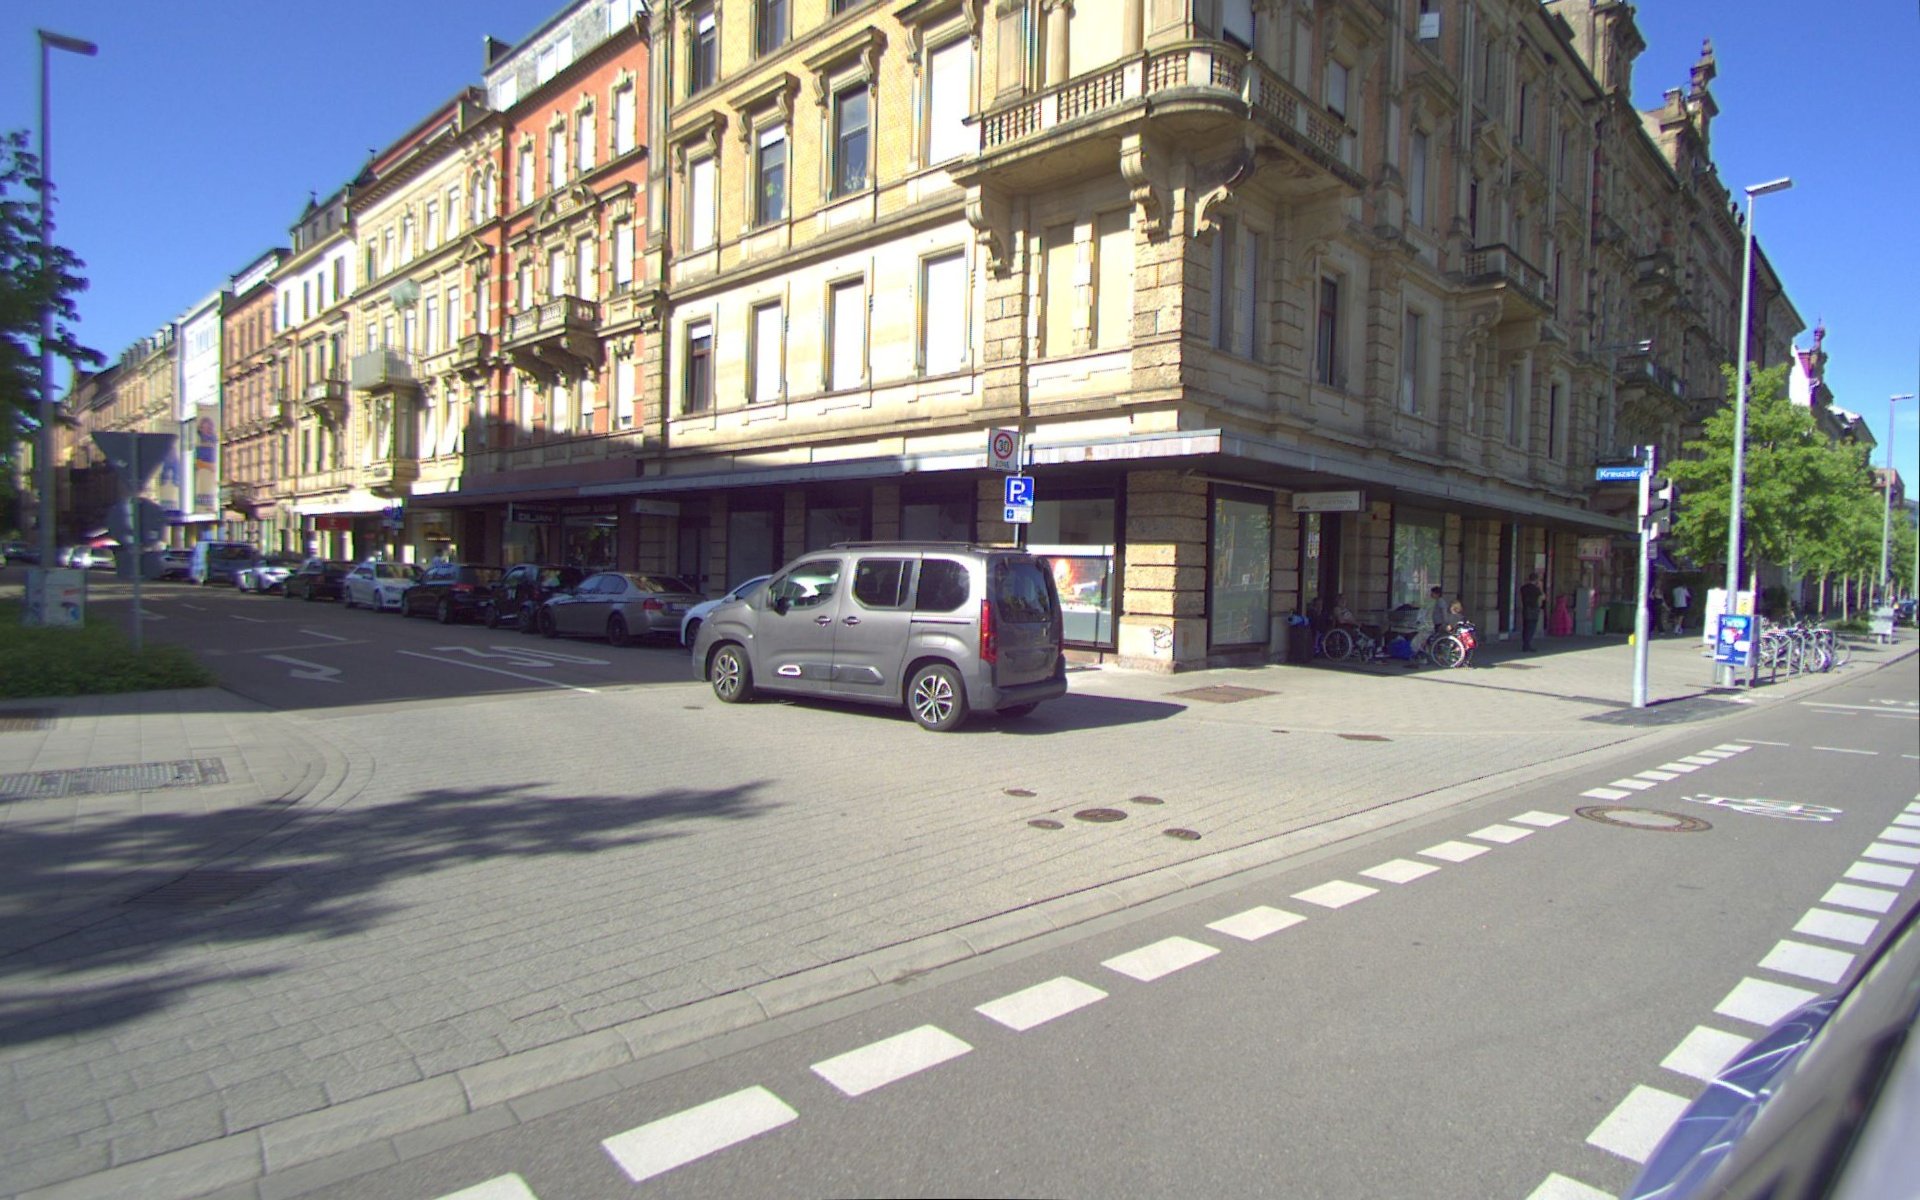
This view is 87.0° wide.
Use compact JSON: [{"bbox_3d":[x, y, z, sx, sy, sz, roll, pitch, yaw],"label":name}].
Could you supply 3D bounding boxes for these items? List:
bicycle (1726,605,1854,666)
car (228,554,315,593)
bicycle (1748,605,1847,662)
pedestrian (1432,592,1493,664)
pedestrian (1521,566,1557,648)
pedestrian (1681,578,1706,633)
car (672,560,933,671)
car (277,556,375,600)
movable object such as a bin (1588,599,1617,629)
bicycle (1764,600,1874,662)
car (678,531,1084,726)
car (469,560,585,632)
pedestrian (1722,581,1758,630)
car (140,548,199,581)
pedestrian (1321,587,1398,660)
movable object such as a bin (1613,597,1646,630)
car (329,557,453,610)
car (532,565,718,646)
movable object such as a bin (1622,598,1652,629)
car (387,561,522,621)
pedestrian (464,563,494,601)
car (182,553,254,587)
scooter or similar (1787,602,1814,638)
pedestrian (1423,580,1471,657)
[{"bbox_3d":[18.133,0.753,22.156,0.593,1.133,2.053,0,4,-42],"label":"bicycle"},{"bbox_3d":[-25.480,-0.996,37.425,3.806,1.371,1.688,2,2,40],"label":"car"},{"bbox_3d":[19.089,0.737,23.103,1.661,1.123,0.594,5,4,40],"label":"bicycle"},{"bbox_3d":[9.097,0.497,18.325,0.635,1.232,0.719,0,3,-37],"label":"pedestrian"},{"bbox_3d":[13.167,0.154,23.010,0.491,1.824,0.512,1,1,-35],"label":"pedestrian"},{"bbox_3d":[25.529,0.185,35.225,0.491,1.873,0.512,1,1,-35],"label":"pedestrian"},{"bbox_3d":[-2.690,0.162,16.697,4.388,1.563,1.827,2,2,40],"label":"car"},{"bbox_3d":[-21.236,-0.758,33.860,3.806,1.371,1.688,2,2,40],"label":"car"},{"bbox_3d":[20.066,0.437,31.589,0.467,0.876,0.606,0,3,-38],"label":"movable object such as a bin"},{"bbox_3d":[20.402,0.716,24.075,0.680,1.266,1.867,0,5,-43],"label":"bicycle"},{"bbox_3d":[-0.921,0.207,11.069,4.135,1.775,1.797,2,0,31],"label":"car"},{"bbox_3d":[-9.890,-0.130,23.057,2.778,1.513,1.287,2,2,40],"label":"car"},{"bbox_3d":[26.308,0.172,34.145,0.795,1.603,0.752,0,3,-43],"label":"pedestrian"},{"bbox_3d":[-39.105,-1.769,50.026,3.806,1.574,1.514,2,2,40],"label":"car"},{"bbox_3d":[7.287,0.405,18.470,0.691,1.232,1.074,0,4,-43],"label":"pedestrian"},{"bbox_3d":[21.973,0.429,33.222,0.576,1.025,0.693,0,3,-38],"label":"movable object such as a bin"},{"bbox_3d":[-16.397,-0.503,29.069,4.420,1.371,1.627,2,2,40],"label":"car"},{"bbox_3d":[-6.778,0.069,20.250,4.172,1.412,1.535,2,1,40],"label":"car"},{"bbox_3d":[22.467,0.448,33.599,0.576,0.986,0.692,0,1,-38],"label":"movable object such as a bin"},{"bbox_3d":[-12.750,-0.269,25.442,3.806,1.371,1.627,2,2,40],"label":"car"},{"bbox_3d":[-15.280,-0.586,32.172,0.645,1.184,0.670,2,1,43],"label":"pedestrian"},{"bbox_3d":[-32.380,-1.318,44.126,3.806,1.371,1.688,2,2,40],"label":"car"},{"bbox_3d":[28.441,0.659,34.252,0.283,1.188,0.639,1,1,-20],"label":"scooter or similar"},{"bbox_3d":[9.288,0.337,19.304,0.637,1.411,0.573,0,4,-44],"label":"pedestrian"}]
